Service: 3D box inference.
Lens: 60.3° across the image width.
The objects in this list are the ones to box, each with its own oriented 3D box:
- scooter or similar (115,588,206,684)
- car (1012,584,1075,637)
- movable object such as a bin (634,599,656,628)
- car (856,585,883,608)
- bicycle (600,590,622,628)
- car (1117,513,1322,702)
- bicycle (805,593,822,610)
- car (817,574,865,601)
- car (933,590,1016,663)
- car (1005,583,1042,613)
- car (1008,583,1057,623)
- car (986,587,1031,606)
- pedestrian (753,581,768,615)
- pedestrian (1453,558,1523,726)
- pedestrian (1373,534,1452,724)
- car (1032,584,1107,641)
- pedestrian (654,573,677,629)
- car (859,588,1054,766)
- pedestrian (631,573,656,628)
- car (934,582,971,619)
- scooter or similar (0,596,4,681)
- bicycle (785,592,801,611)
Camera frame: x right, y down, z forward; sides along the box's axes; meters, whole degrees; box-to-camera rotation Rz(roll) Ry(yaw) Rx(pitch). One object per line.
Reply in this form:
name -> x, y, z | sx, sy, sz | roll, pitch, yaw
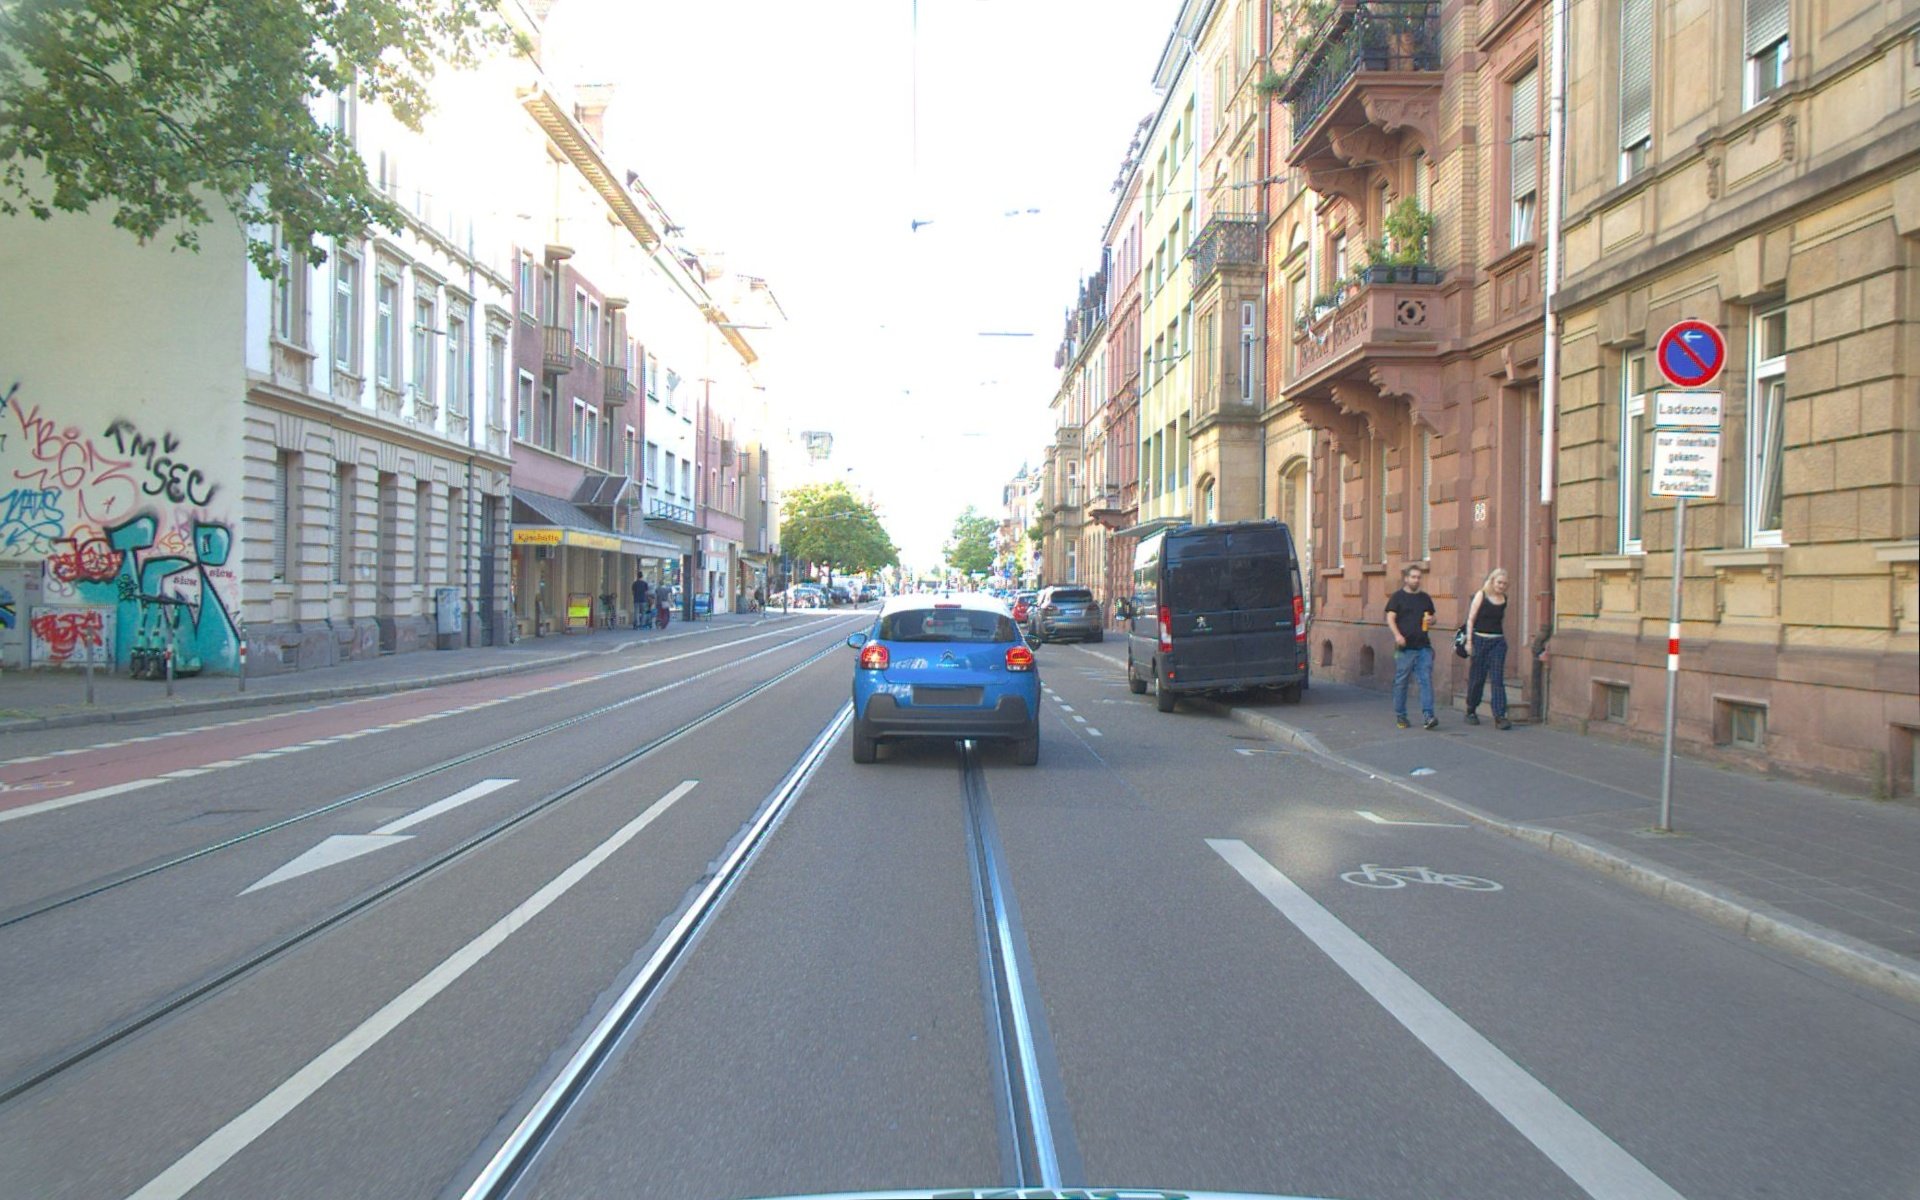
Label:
scooter or similar -> -11.664, 0.509, 24.166 | 0.772, 1.294, 1.074 | 3, 2, -2
car -> 2.873, 0.352, 57.854 | 1.867, 1.788, 3.999 | 0, 0, -2
movable object such as a bin -> -10.380, 0.432, 54.543 | 0.598, 0.930, 0.695 | 0, 0, -1
car -> -6.915, -0.264, 126.879 | 1.953, 1.680, 3.999 | 0, 0, -2
bicycle -> -11.077, 0.273, 52.524 | 0.610, 1.180, 2.058 | 0, 0, -14
car -> 3.720, 0.080, 24.852 | 2.224, 2.479, 5.720 | 1, 0, 1
bicycle -> -10.306, 0.123, 116.076 | 1.099, 1.166, 3.639 | 0, 0, -6
car -> -11.850, -1.225, 165.061 | 4.256, 2.626, 2.190 | 0, 0, -27
car -> 0.267, 0.533, 36.137 | 1.633, 1.504, 3.999 | 0, 0, -2
car -> 3.867, -0.129, 100.673 | 1.965, 1.701, 4.390 | -2, 0, -1
car -> 3.299, 0.128, 76.290 | 1.965, 1.701, 4.390 | -1, 1, -1
car -> 4.160, -0.314, 141.685 | 3.759, 1.646, 1.790 | 0, 0, -4
pedestrian -> -9.844, -0.120, 81.694 | 0.671, 1.667, 0.675 | 0, 0, -2
pedestrian -> 5.812, 0.458, 18.227 | 0.542, 1.813, 0.606 | 1, 0, -2
pedestrian -> 5.050, 0.311, 18.487 | 0.574, 2.049, 0.823 | -2, 0, -2
car -> 3.394, 0.354, 52.059 | 1.965, 1.701, 4.805 | 0, 0, -1
pedestrian -> -9.622, 0.026, 54.083 | 0.697, 1.795, 0.653 | 0, 0, -9
car -> -0.149, 0.639, 16.050 | 1.641, 1.503, 3.997 | 0, 0, -4
pedestrian -> -10.310, 0.008, 53.852 | 0.696, 1.795, 0.570 | 0, 0, -2
car -> -0.450, 0.022, 94.493 | 1.953, 2.049, 3.999 | 0, 0, -2
scooter or similar -> -14.398, 0.558, 23.788 | 0.921, 1.243, 0.765 | 0, 0, -13
bicycle -> -11.753, 0.104, 116.110 | 1.099, 1.342, 3.639 | 0, 0, -6
